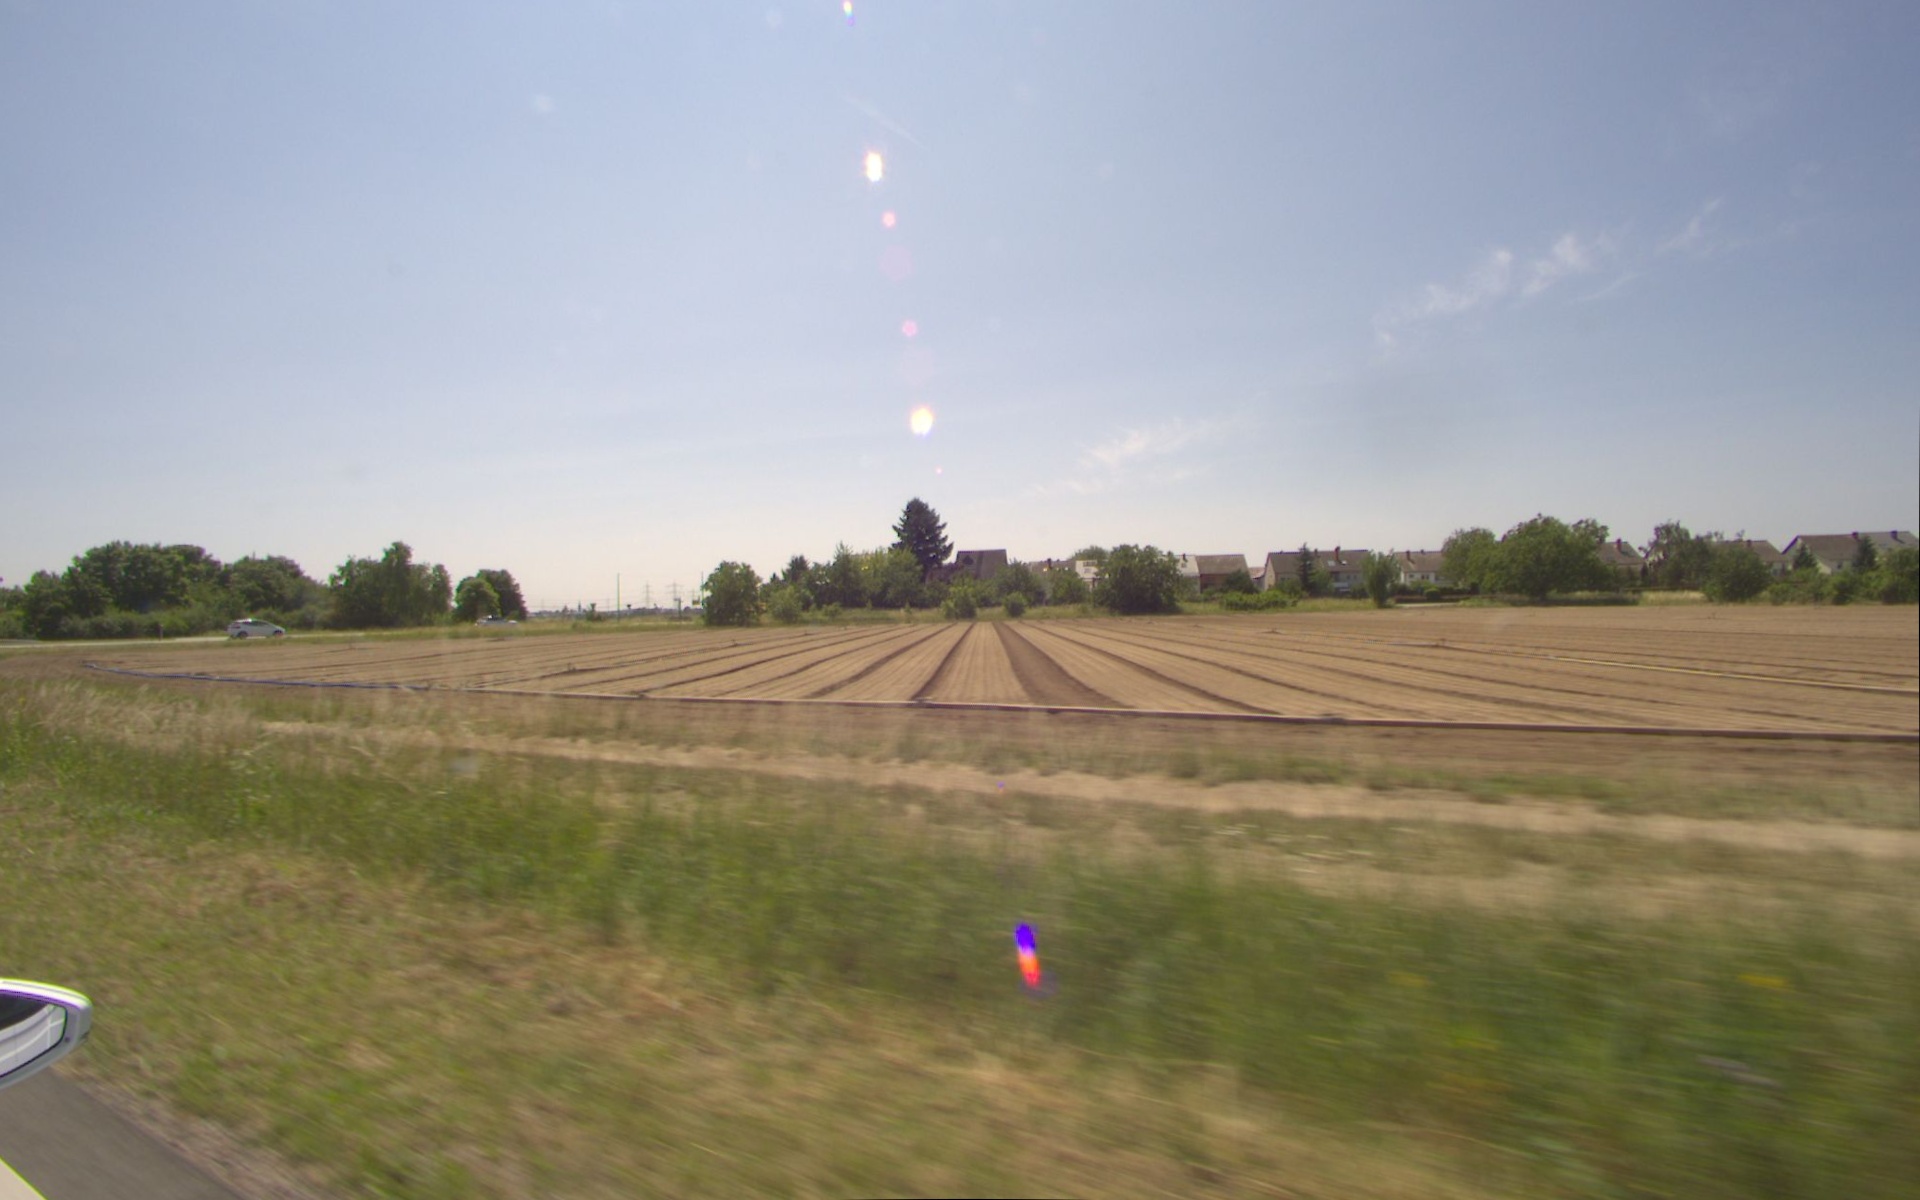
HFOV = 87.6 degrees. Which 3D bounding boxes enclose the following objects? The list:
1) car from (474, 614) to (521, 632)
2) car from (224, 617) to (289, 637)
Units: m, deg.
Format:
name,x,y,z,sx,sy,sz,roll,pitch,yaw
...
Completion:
name,x,y,z,sx,sy,sz,roll,pitch,yaw
car,-45.873,2.250,99.356,3.954,1.645,1.631,-1,0,-39
car,-59.734,2.279,85.099,2.044,1.645,4.116,-1,0,36
